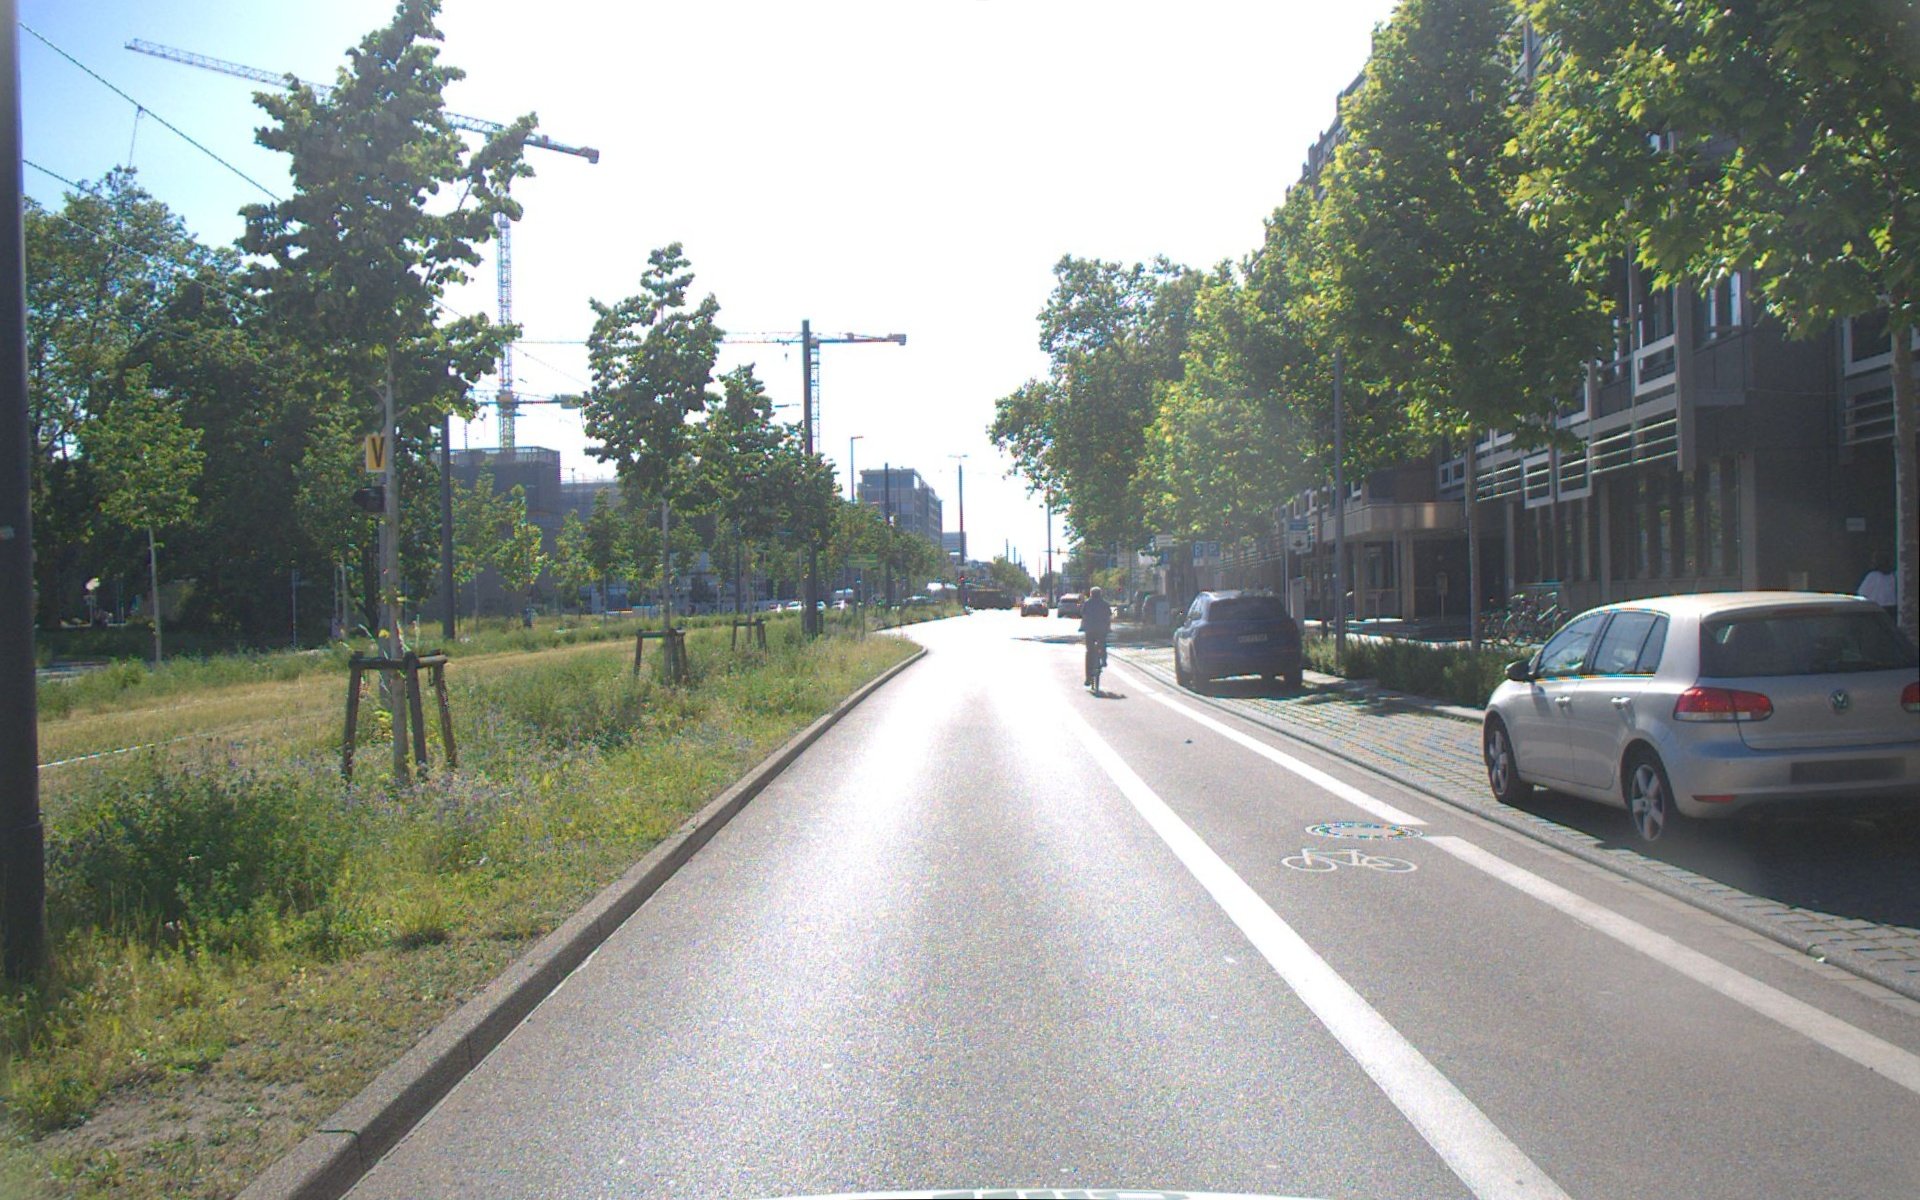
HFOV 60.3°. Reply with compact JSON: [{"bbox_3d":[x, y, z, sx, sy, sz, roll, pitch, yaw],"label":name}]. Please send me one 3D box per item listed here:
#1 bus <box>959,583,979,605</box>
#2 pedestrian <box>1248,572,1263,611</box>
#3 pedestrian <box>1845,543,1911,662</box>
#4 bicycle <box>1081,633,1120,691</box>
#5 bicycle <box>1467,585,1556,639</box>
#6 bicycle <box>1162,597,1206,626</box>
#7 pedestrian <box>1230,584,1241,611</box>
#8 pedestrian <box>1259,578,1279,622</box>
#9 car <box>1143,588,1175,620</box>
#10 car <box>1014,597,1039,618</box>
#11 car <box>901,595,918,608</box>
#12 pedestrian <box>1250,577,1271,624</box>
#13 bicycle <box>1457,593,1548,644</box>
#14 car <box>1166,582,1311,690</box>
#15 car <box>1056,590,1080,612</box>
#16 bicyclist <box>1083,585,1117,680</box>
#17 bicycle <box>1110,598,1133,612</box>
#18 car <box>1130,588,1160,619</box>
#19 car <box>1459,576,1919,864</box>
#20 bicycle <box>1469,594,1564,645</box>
[{"bbox_3d":[1.326,-0.867,238.055,2.573,3.011,9.900,1,-1,2],"label":"bus"},{"bbox_3d":[13.380,-0.379,74.821,0.500,1.730,0.774,-3,0,3],"label":"pedestrian"},{"bbox_3d":[13.200,0.032,23.806,0.500,1.651,0.674,-4,0,3],"label":"pedestrian"},{"bbox_3d":[2.447,1.066,28.971,0.487,0.921,2.196,0,0,0],"label":"bicycle"},{"bbox_3d":[12.604,0.276,37.807,1.819,1.117,0.427,-4,0,5],"label":"bicycle"},{"bbox_3d":[10.061,0.504,74.355,1.897,1.258,0.579,-1,0,1],"label":"bicycle"},{"bbox_3d":[16.851,-0.152,101.318,0.495,1.612,0.634,-1,0,-4],"label":"pedestrian"},{"bbox_3d":[10.599,-0.005,56.727,0.500,1.500,0.736,-3,0,3],"label":"pedestrian"},{"bbox_3d":[11.163,0.205,92.814,1.668,1.672,4.639,-1,0,6],"label":"car"},{"bbox_3d":[5.214,0.583,129.678,1.872,1.512,4.011,-1,0,3],"label":"car"},{"bbox_3d":[-4.894,0.146,161.792,1.347,1.199,3.221,1,-1,3],"label":"car"},{"bbox_3d":[11.427,0.023,62.917,0.634,1.758,0.803,-1,0,3],"label":"pedestrian"},{"bbox_3d":[12.006,0.406,36.630,1.819,1.028,0.427,-4,0,5],"label":"bicycle"},{"bbox_3d":[4.895,0.590,29.672,1.811,1.685,4.849,-3,0,1],"label":"car"},{"bbox_3d":[8.230,0.073,125.773,1.685,1.646,4.189,-1,0,6],"label":"car"},{"bbox_3d":[2.447,0.563,28.960,0.502,1.629,0.536,-1,0,-1],"label":"bicyclist"},{"bbox_3d":[12.204,0.391,124.980,1.659,0.974,0.478,-3,0,0],"label":"bicycle"},{"bbox_3d":[11.630,0.225,104.105,1.668,1.821,4.194,-3,0,4],"label":"car"},{"bbox_3d":[4.818,0.644,11.088,1.585,1.490,4.154,-3,0,-1],"label":"car"},{"bbox_3d":[11.843,0.417,35.216,1.819,0.955,0.427,-4,0,5],"label":"bicycle"}]
